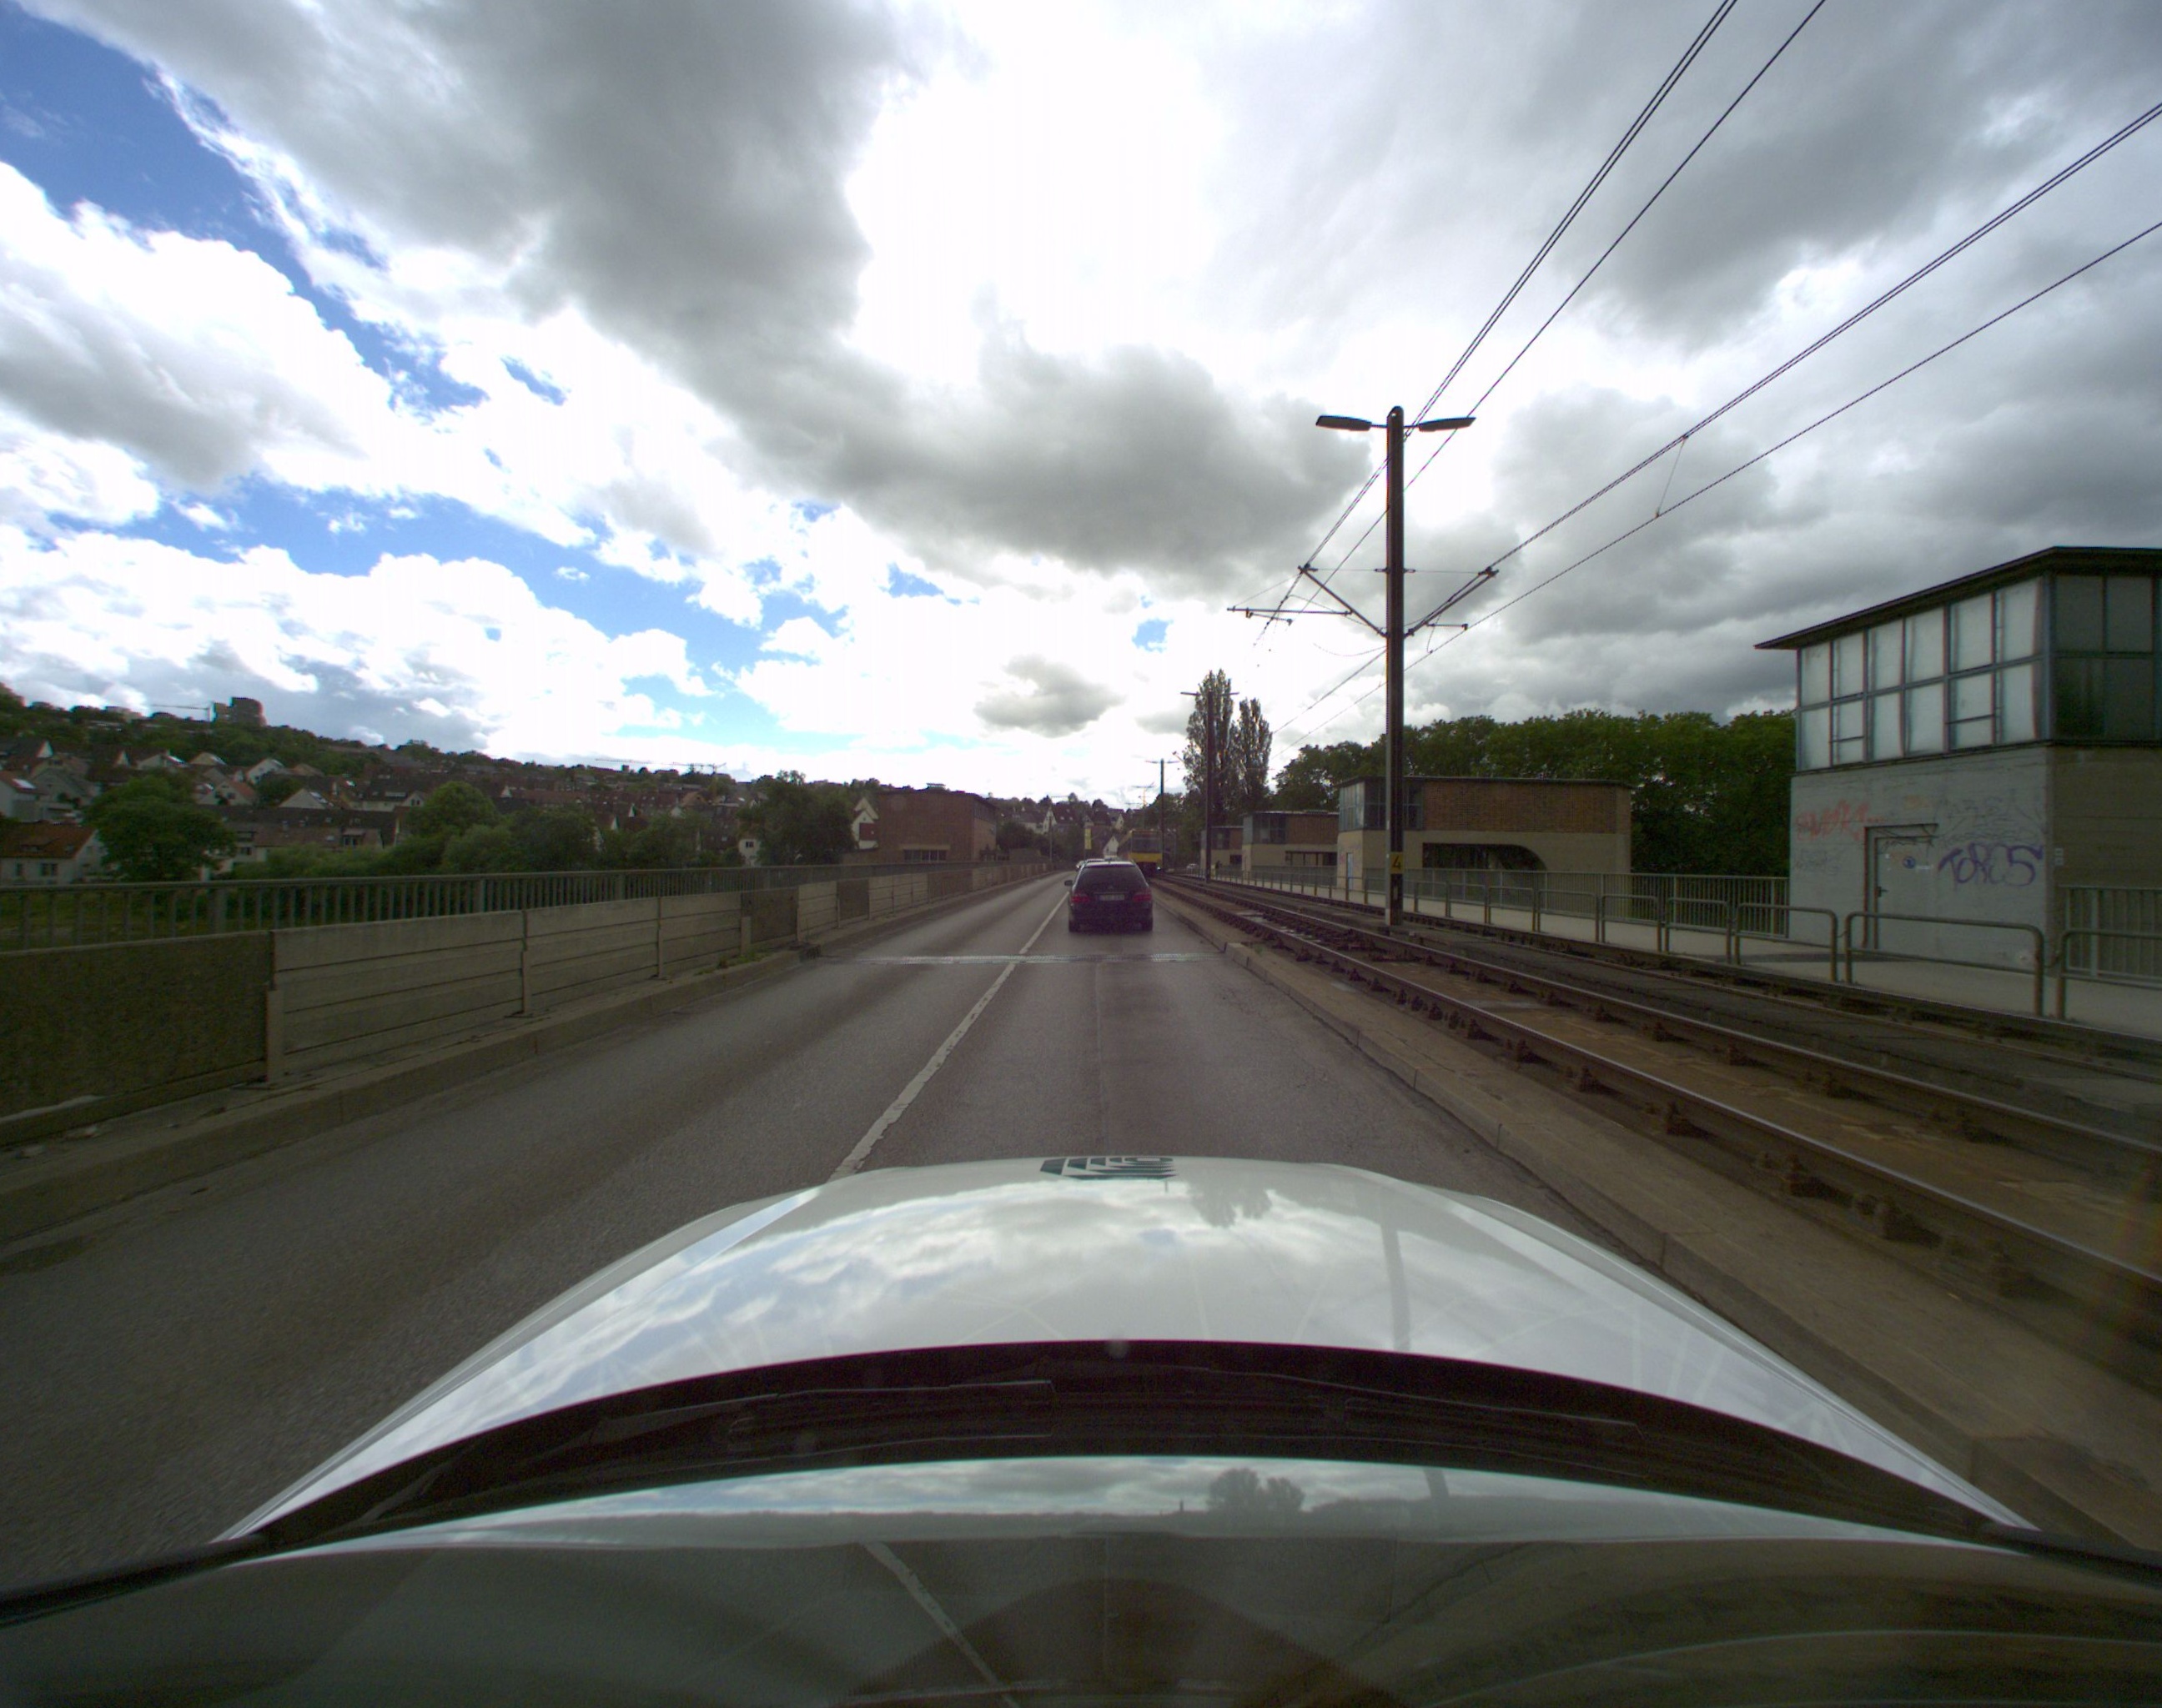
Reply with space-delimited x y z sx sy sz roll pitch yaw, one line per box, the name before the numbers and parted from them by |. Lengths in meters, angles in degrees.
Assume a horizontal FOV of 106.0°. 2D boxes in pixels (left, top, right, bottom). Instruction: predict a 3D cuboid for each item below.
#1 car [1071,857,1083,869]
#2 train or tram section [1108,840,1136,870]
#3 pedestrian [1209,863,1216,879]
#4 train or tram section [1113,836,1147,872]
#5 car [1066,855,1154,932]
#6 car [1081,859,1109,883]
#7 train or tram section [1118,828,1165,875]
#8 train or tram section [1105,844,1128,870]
car | -0.612 1.308 121.642 1.710 1.645 4.000 -1 0 0
train or tram section | 5.342 0.277 109.247 2.775 3.656 19.891 -2 -1 1
pedestrian | 13.350 1.748 82.819 0.575 1.610 0.613 0 -1 1
train or tram section | 5.198 0.065 89.991 2.820 3.580 18.666 -1 0 1
car | 0.681 0.808 18.482 1.752 1.516 4.445 -1 0 3
car | 0.894 1.103 55.357 1.765 1.555 4.238 0 0 -1
train or tram section | 5.010 -0.092 71.248 2.872 3.509 18.666 -1 0 1
train or tram section | 5.447 0.598 129.181 2.784 3.764 19.887 1 -1 0
